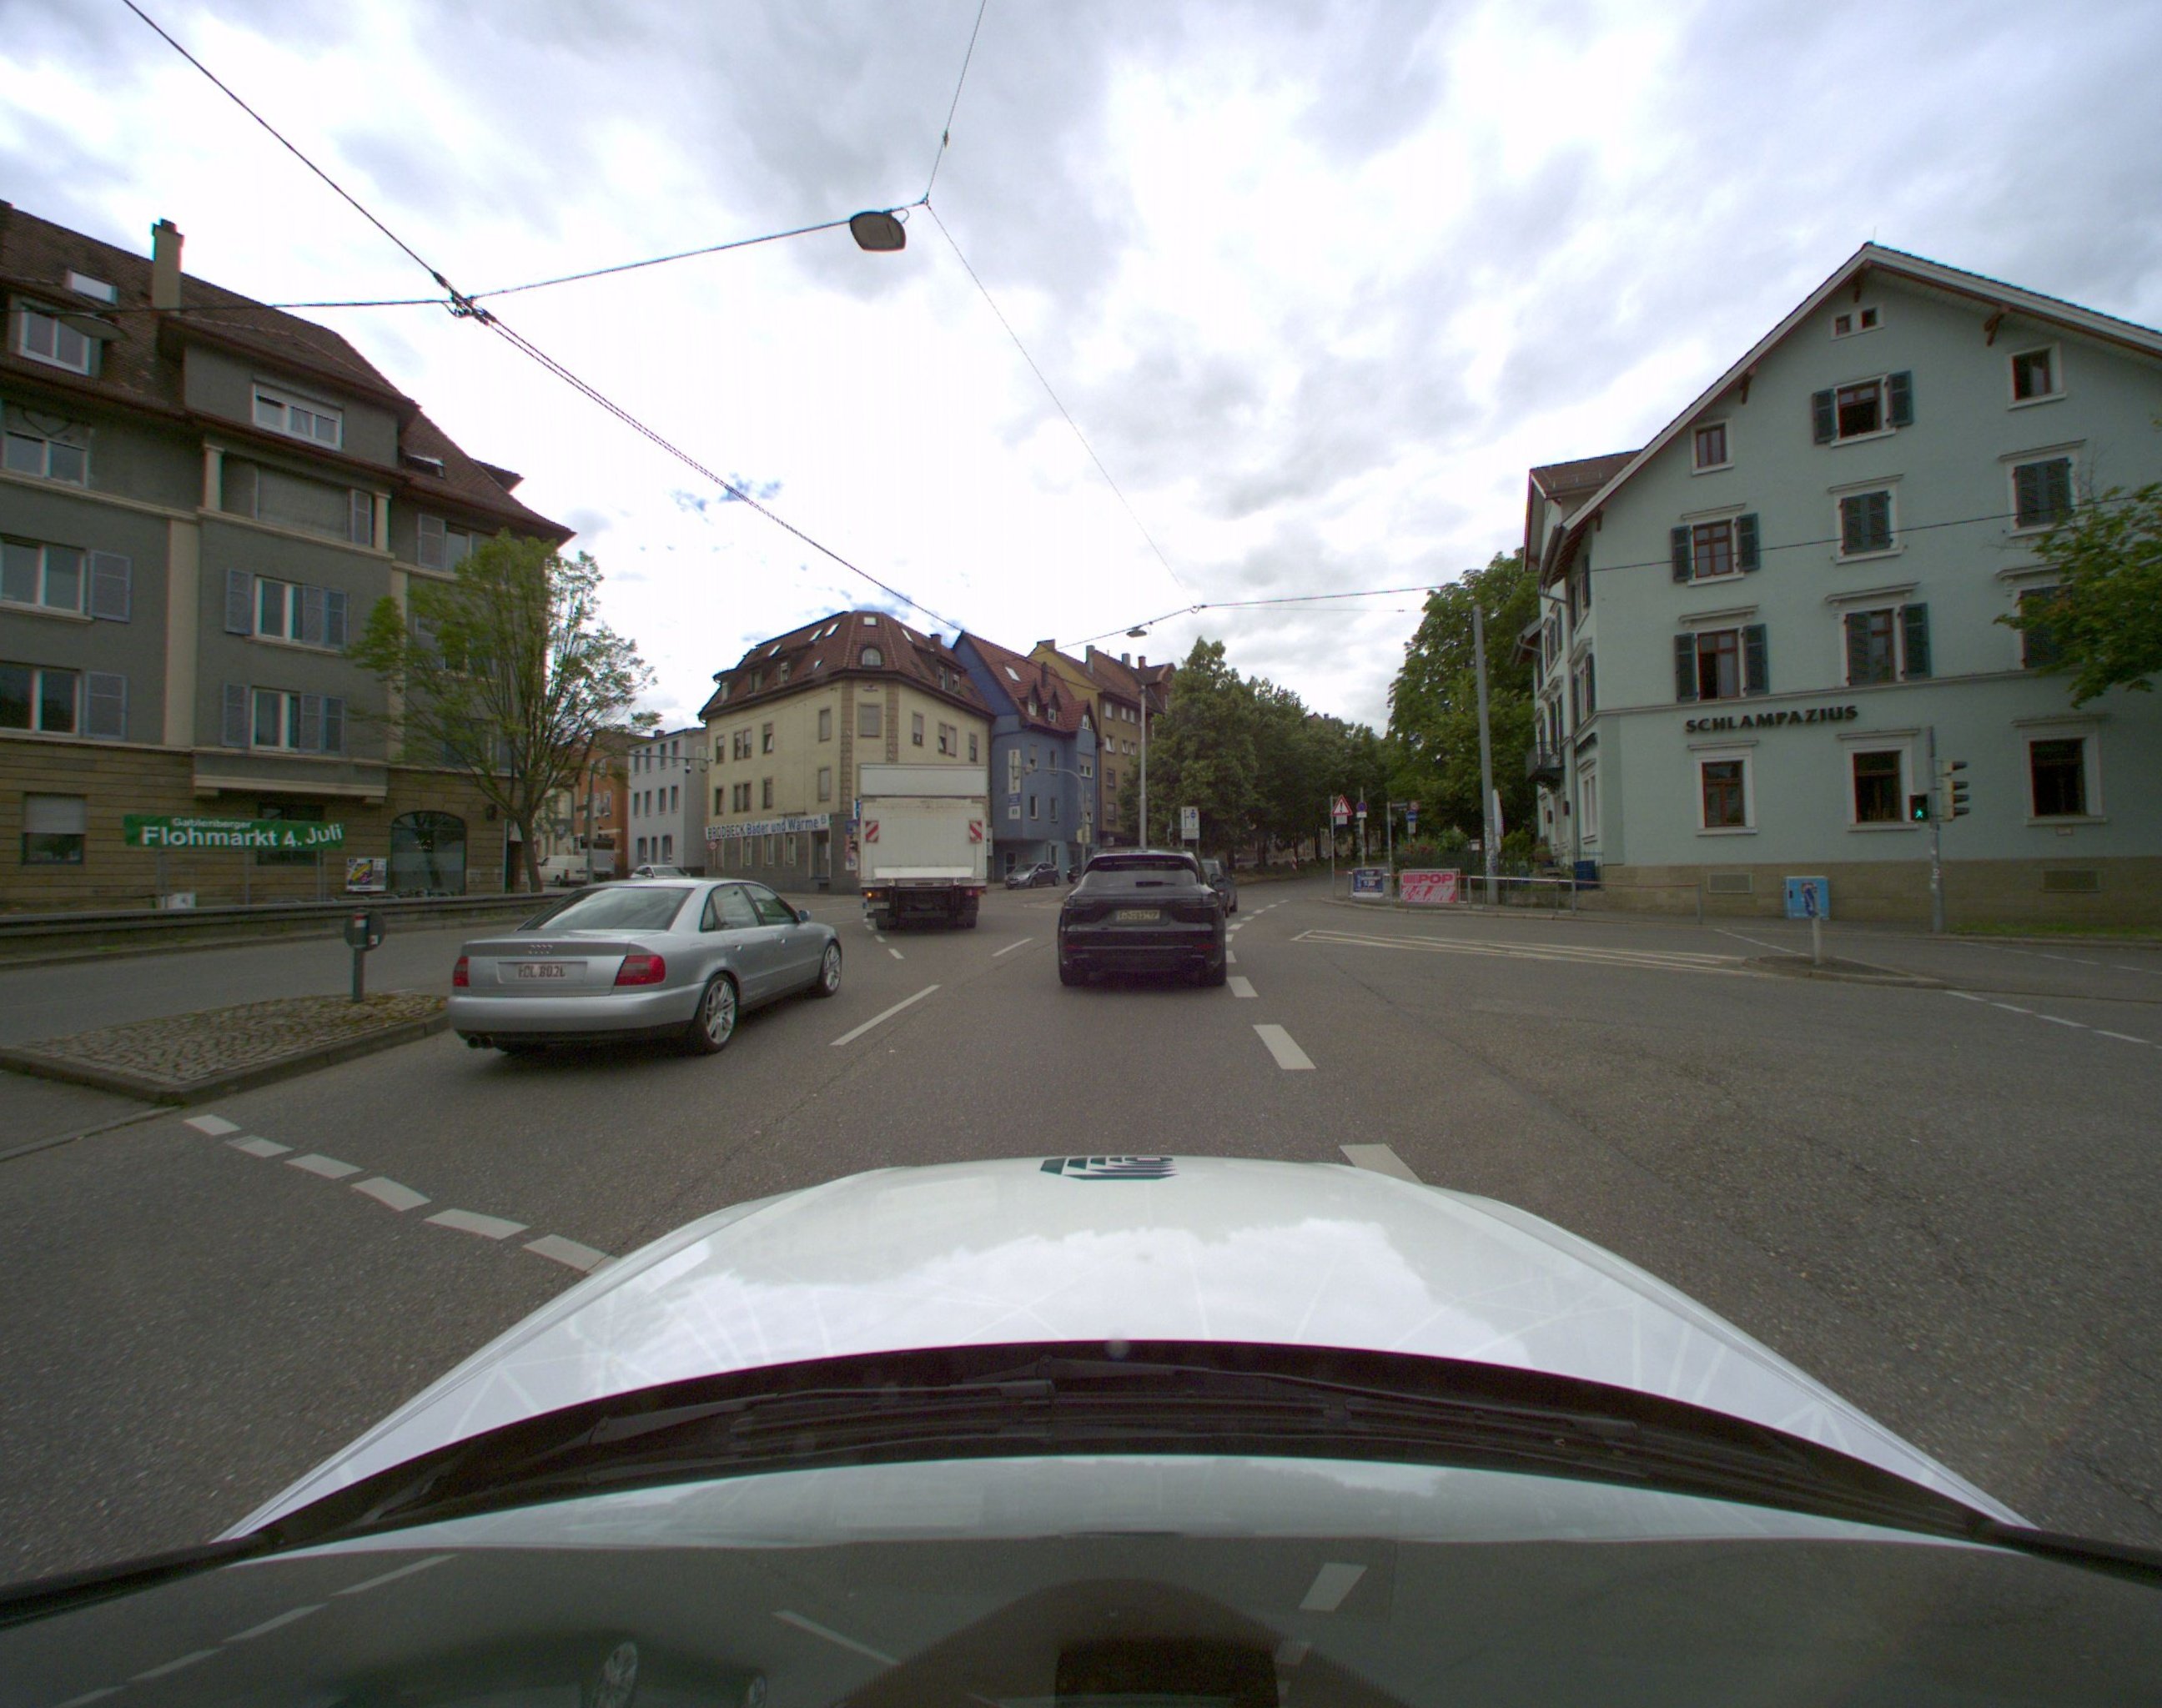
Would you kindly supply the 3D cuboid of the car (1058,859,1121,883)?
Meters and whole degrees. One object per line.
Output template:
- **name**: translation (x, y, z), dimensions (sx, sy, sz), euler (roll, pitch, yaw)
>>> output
- **car**: translation (0.611, 1.054, 52.038), dimensions (1.852, 1.416, 4.728), euler (-2, -1, 30)

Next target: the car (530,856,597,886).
- **car**: translation (-32.510, 1.037, 51.145), dimensions (4.280, 1.799, 2.078), euler (0, 0, 35)

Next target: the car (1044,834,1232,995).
- **car**: translation (0.787, 0.648, 11.047), dimensions (2.022, 1.723, 4.505), euler (0, 0, 4)

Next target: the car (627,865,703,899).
- **car**: translation (-19.188, 1.286, 37.518), dimensions (3.925, 1.470, 1.892), euler (-2, -2, 43)

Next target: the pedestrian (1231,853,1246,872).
- **pedestrian**: translation (16.393, 0.901, 84.754), dimensions (1.181, 2.014, 0.995), euler (-1, -1, 28)

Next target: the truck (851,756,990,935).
- **truck**: translation (-3.748, -0.146, 20.496), dimensions (2.723, 3.544, 8.398), euler (0, 0, -8)

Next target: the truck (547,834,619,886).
- **truck**: translation (-34.282, 0.406, 56.005), dimensions (5.370, 3.354, 2.715), euler (0, -1, 42)

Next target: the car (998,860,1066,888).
- **car**: translation (-2.704, 1.104, 45.862), dimensions (1.700, 1.476, 4.245), euler (-3, -2, 30)

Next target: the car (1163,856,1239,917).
- **car**: translation (3.471, 0.862, 23.003), dimensions (1.636, 1.556, 3.598), euler (1, -1, 16)

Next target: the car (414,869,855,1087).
- **car**: translation (-3.594, 0.868, 7.559), dimensions (1.622, 1.365, 4.131), euler (1, 0, 3)
